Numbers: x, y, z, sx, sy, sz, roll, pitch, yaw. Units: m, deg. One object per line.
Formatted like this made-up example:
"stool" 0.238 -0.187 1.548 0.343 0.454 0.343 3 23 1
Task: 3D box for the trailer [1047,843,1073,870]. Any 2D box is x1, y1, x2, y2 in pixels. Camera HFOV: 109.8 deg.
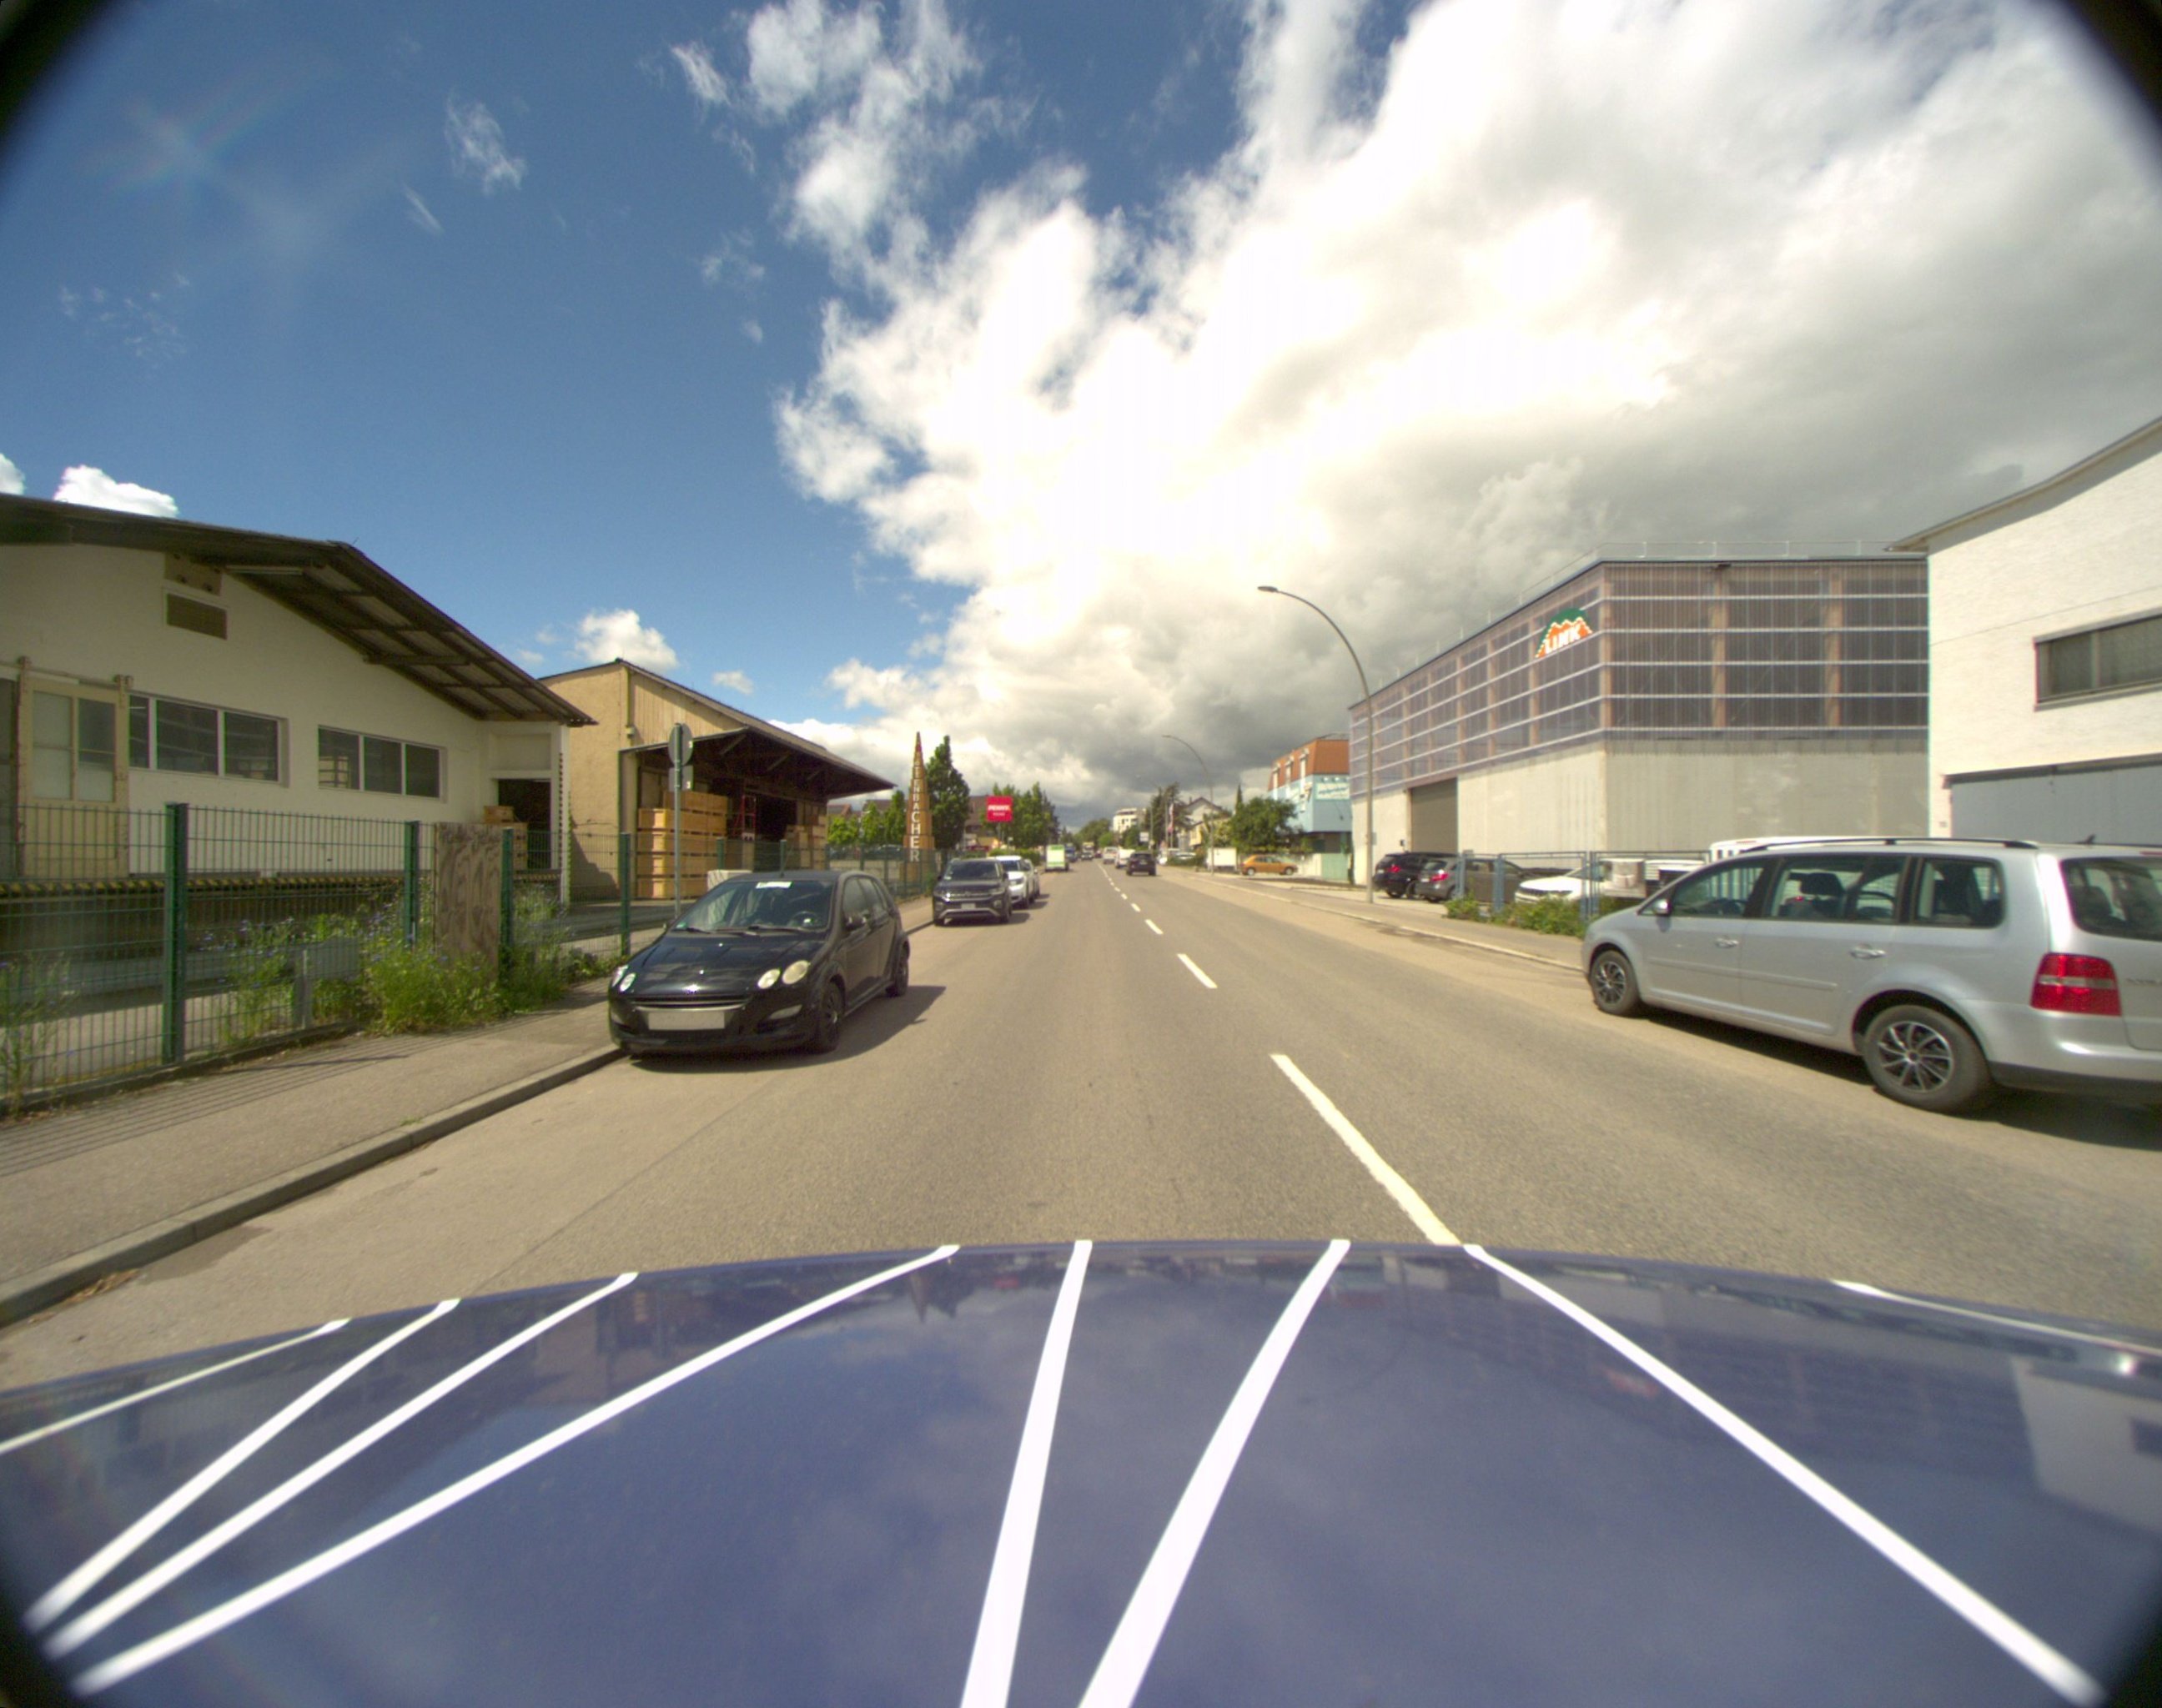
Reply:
"trailer" -1.768 0.170 65.596 2.044 2.214 5.079 1 0 1

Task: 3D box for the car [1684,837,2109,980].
"car" 11.630 0.723 11.107 3.997 1.866 2.000 1 0 1

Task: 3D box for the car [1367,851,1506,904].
"car" 12.613 0.807 27.156 3.997 1.727 2.000 1 1 1

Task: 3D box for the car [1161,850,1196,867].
"car" 11.267 0.515 88.287 3.995 2.002 2.001 1 0 5

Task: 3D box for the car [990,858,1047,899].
"car" -2.367 0.895 29.645 1.806 1.459 4.000 1 0 1

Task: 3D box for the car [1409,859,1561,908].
"car" 12.925 0.934 24.459 3.955 1.492 1.777 1 -1 -1

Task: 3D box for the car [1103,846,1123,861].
"car" 4.284 -0.094 102.243 2.384 2.002 6.384 1 0 -1

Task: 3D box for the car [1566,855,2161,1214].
"car" 5.811 0.877 5.611 1.809 1.666 4.127 2 0 1

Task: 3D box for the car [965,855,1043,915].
"car" -2.326 0.902 23.876 1.835 1.608 4.000 -3 0 2

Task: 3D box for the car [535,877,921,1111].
"car" -2.861 1.027 7.249 1.759 1.455 4.000 -1 0 0

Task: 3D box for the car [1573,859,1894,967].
"car" 11.503 0.993 13.644 3.997 1.739 2.000 1 0 1

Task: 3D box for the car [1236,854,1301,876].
"car" 12.818 0.735 52.041 4.046 1.485 1.675 1 0 0

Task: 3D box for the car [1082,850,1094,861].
"car" 1.290 0.232 133.585 1.998 1.802 4.000 -1 0 1

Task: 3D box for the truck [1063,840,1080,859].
"truck" -1.413 -0.681 117.215 2.411 2.722 6.640 -2 1 1

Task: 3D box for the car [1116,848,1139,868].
"car" 4.499 0.391 74.257 1.999 1.852 3.835 1 0 -1

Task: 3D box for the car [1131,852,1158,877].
"car" 4.530 0.723 54.541 1.859 1.686 4.001 0 0 4

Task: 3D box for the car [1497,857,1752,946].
"car" 11.457 0.966 16.259 3.997 1.739 2.000 1 0 1

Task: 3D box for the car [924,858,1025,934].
"car" -2.534 0.954 19.086 1.811 1.566 4.188 -2 0 1

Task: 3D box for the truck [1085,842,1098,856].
"truck" 2.452 -1.261 181.328 2.880 3.290 8.607 -2 1 1
